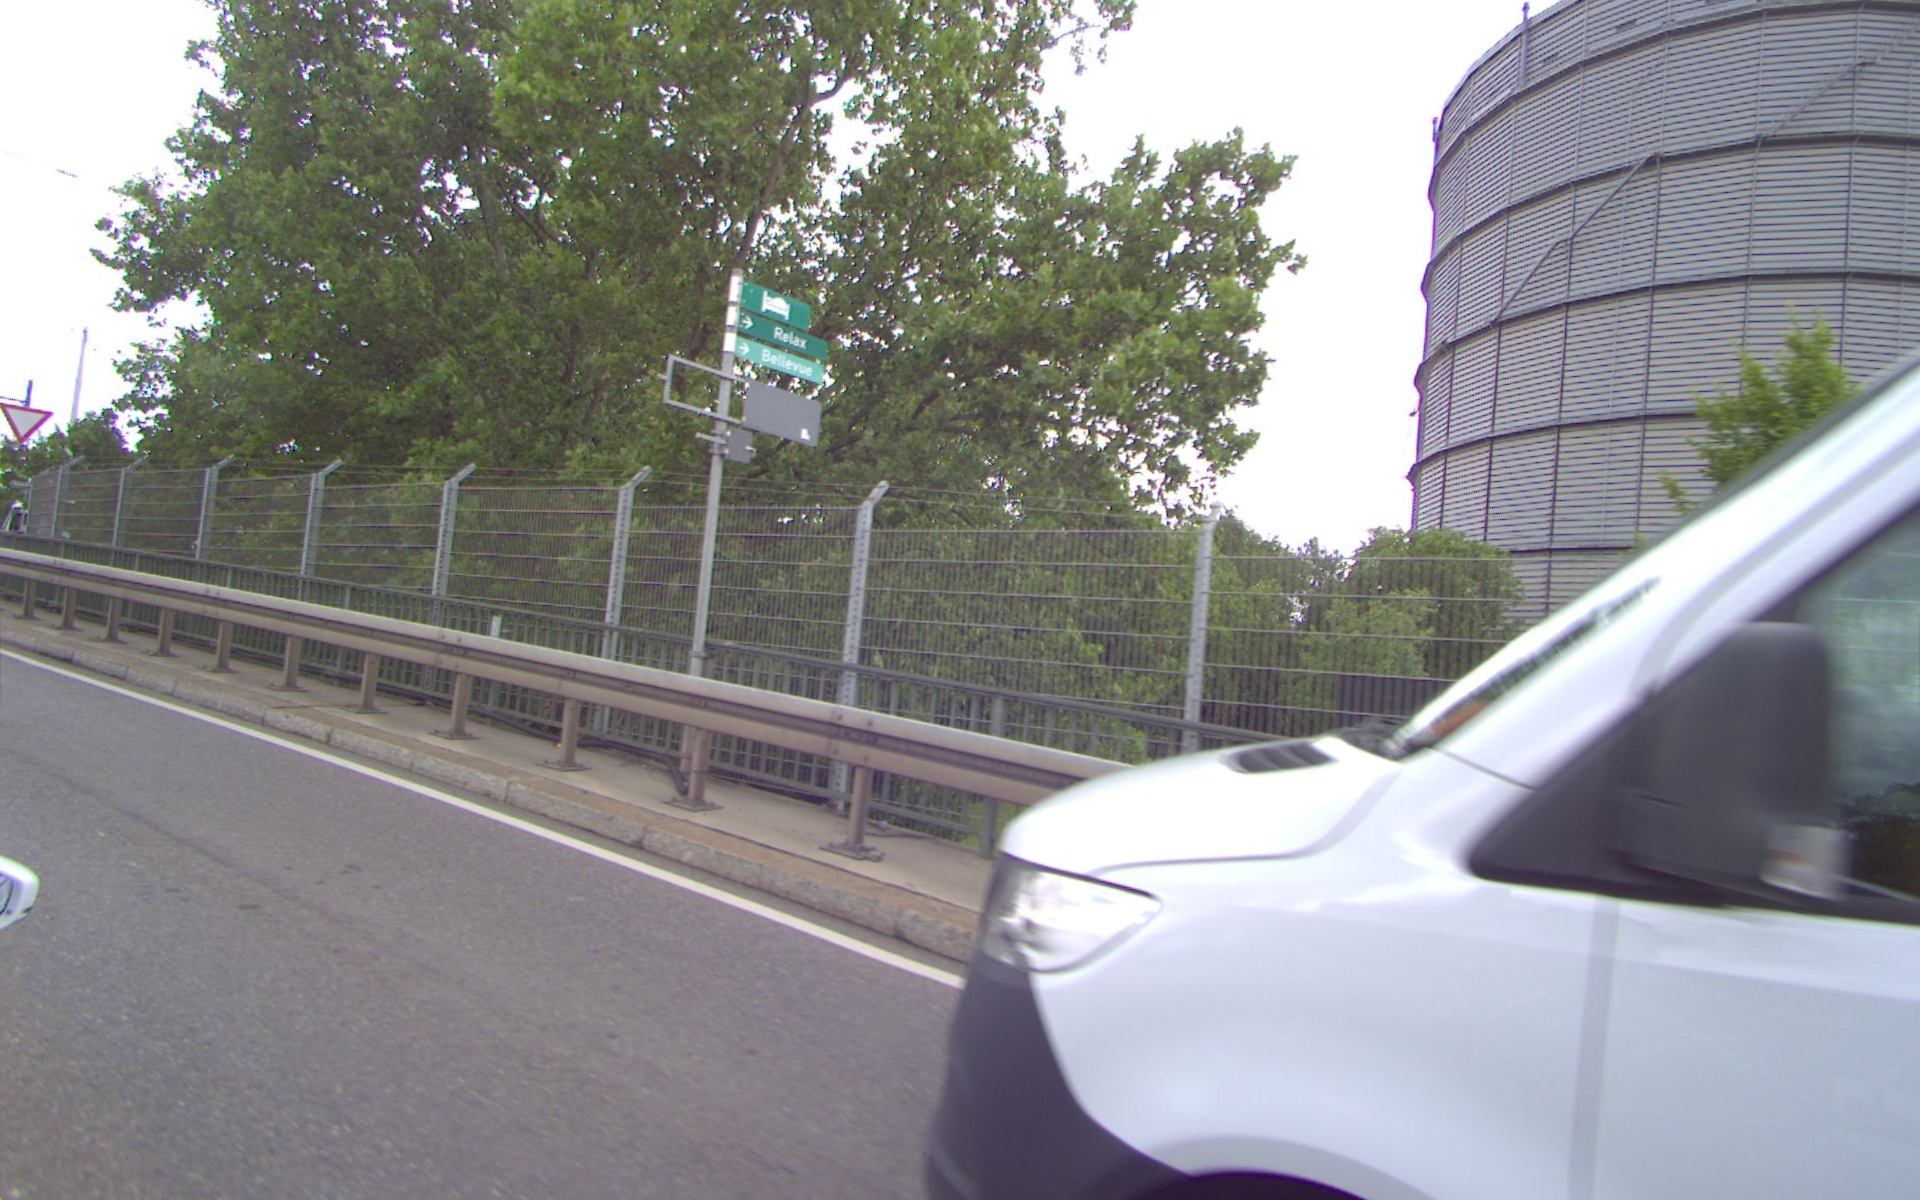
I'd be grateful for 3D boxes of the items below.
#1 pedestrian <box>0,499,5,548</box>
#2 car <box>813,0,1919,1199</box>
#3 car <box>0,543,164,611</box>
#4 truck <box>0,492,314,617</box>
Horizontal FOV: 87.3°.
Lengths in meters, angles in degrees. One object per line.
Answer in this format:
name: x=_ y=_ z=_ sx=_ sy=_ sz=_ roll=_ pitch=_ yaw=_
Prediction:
pedestrian: x=-21.871 y=-1.433 z=22.158 sx=0.963 sy=1.697 sz=0.834 roll=4 pitch=-2 yaw=28
car: x=3.217 y=0.529 z=0.883 sx=6.667 sy=2.816 sz=2.114 roll=7 pitch=-1 yaw=32
car: x=-29.083 y=-0.728 z=33.162 sx=1.784 sy=1.684 sz=3.992 roll=7 pitch=-2 yaw=33
truck: x=-33.419 y=-1.754 z=42.264 sx=10.145 sy=3.559 sz=2.776 roll=9 pitch=-1 yaw=-32
